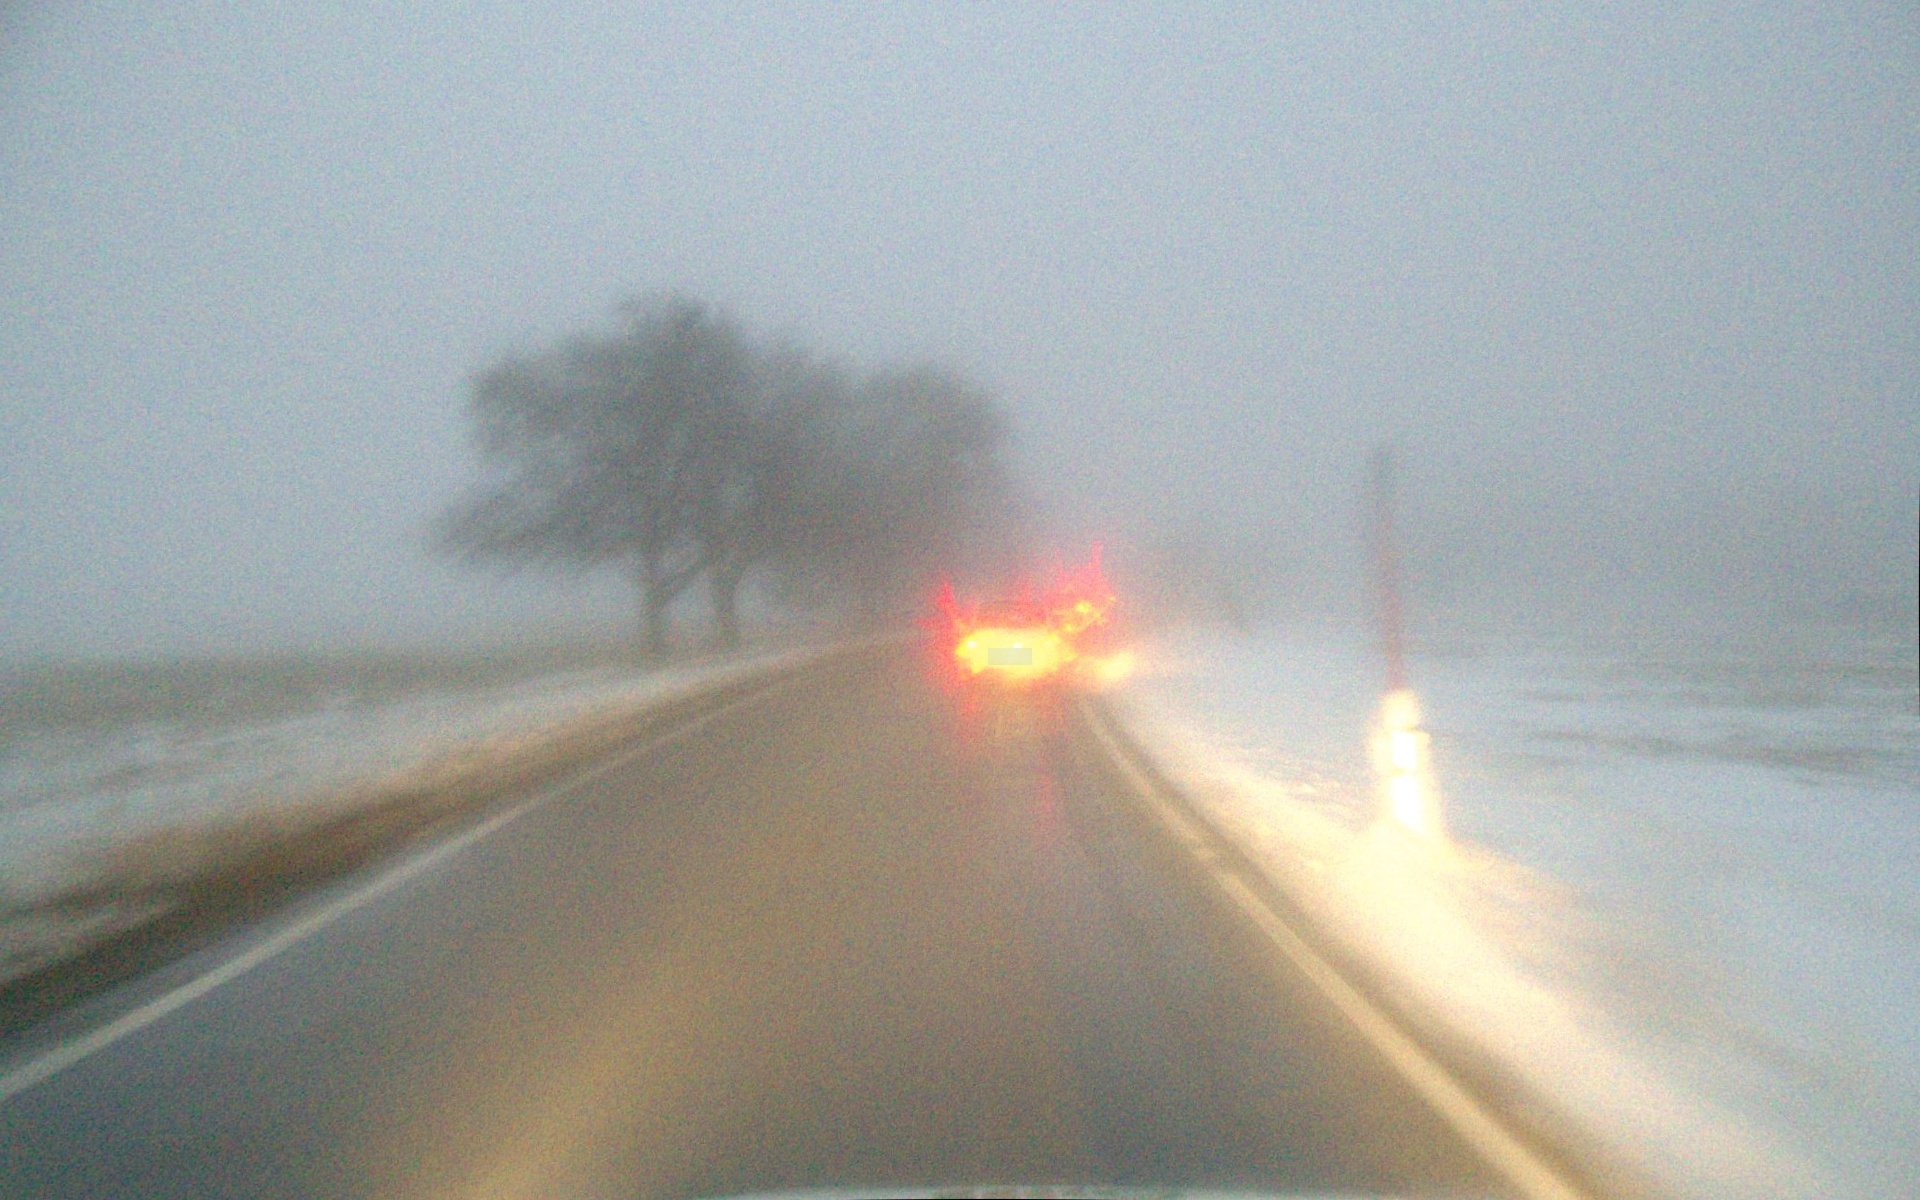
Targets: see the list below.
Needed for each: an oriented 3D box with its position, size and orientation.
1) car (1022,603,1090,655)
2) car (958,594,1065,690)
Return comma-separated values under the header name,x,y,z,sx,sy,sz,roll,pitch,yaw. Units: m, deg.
name,x,y,z,sx,sy,sz,roll,pitch,yaw
car,2.984,0.872,51.027,1.447,1.534,3.055,-1,0,16
car,0.851,0.649,27.975,1.671,1.489,4.001,0,0,1
